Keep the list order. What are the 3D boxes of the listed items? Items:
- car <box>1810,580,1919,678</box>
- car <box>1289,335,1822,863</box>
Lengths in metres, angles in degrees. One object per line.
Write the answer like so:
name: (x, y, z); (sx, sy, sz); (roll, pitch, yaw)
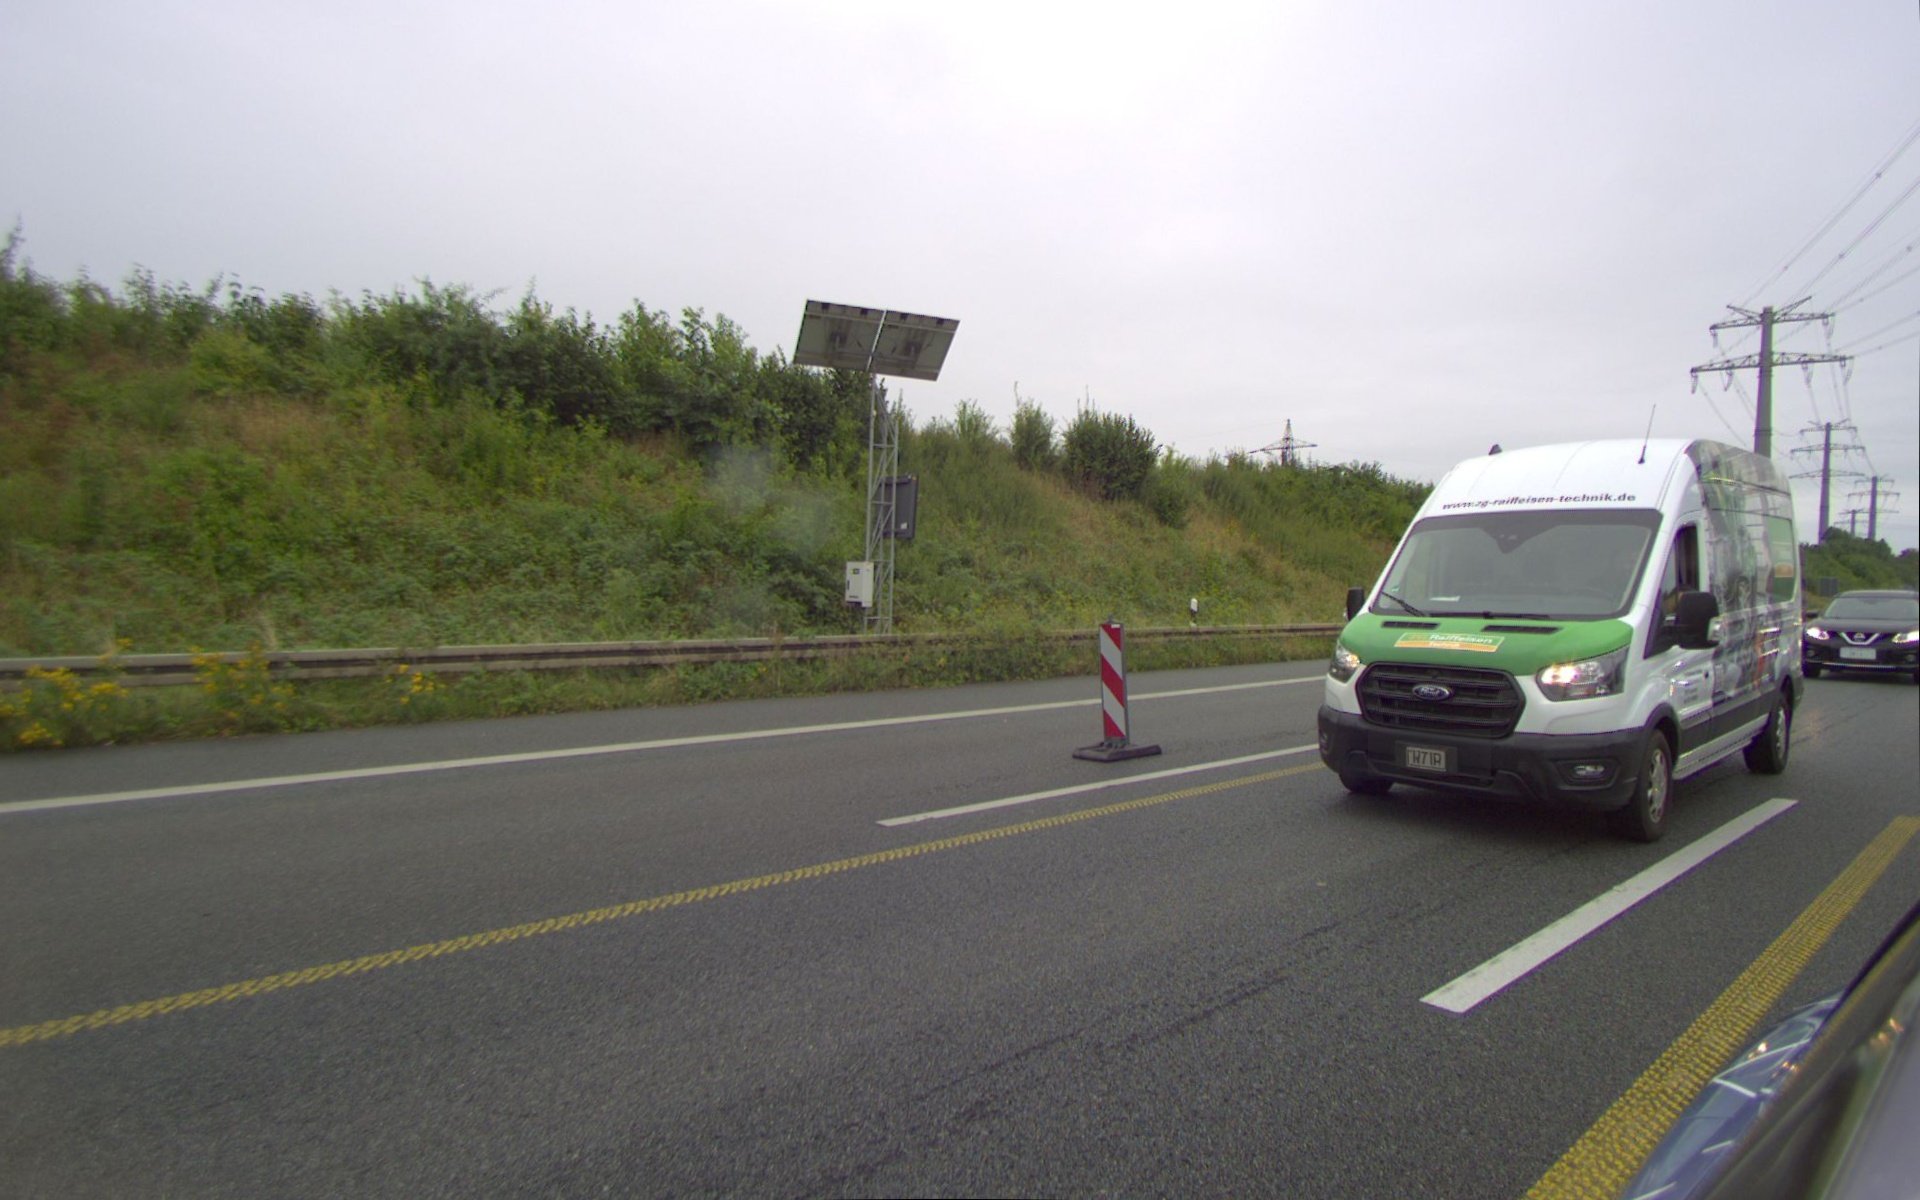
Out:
car: (17.675, 0.481, 19.125); (4.203, 1.679, 1.688); (0, 1, -39)
car: (5.027, -0.031, 8.038); (5.657, 2.817, 1.997); (0, 1, -42)
